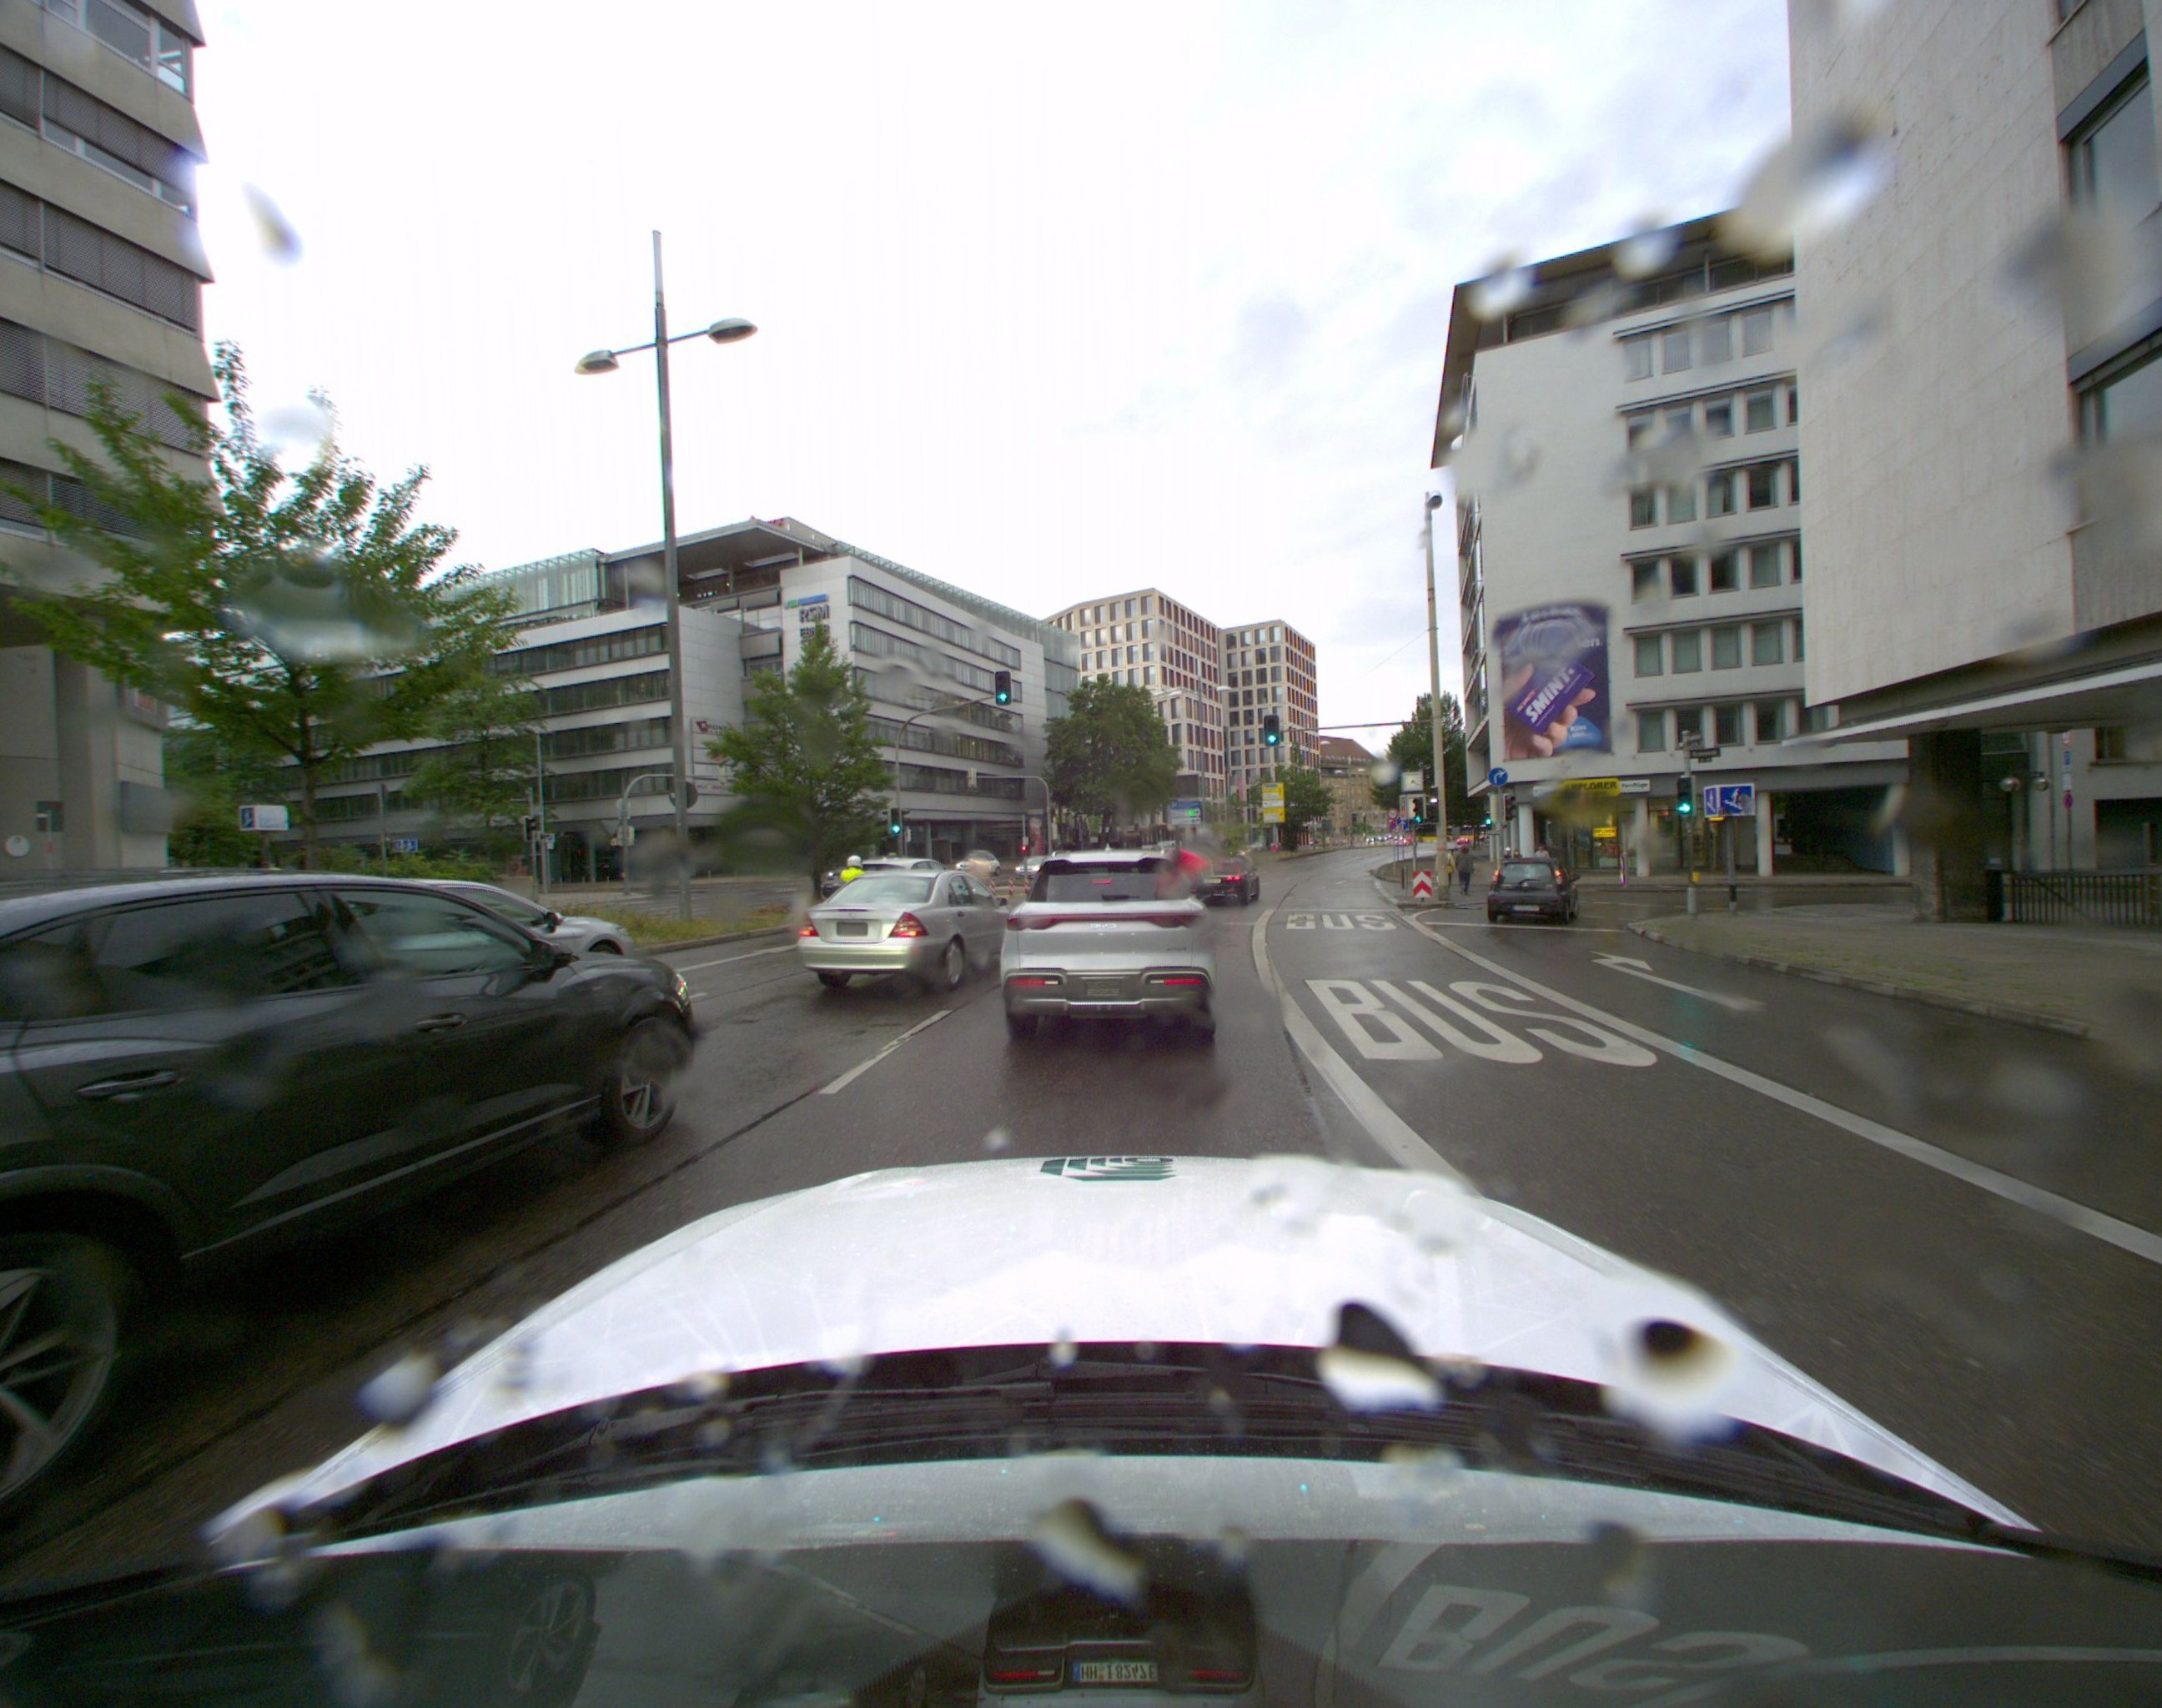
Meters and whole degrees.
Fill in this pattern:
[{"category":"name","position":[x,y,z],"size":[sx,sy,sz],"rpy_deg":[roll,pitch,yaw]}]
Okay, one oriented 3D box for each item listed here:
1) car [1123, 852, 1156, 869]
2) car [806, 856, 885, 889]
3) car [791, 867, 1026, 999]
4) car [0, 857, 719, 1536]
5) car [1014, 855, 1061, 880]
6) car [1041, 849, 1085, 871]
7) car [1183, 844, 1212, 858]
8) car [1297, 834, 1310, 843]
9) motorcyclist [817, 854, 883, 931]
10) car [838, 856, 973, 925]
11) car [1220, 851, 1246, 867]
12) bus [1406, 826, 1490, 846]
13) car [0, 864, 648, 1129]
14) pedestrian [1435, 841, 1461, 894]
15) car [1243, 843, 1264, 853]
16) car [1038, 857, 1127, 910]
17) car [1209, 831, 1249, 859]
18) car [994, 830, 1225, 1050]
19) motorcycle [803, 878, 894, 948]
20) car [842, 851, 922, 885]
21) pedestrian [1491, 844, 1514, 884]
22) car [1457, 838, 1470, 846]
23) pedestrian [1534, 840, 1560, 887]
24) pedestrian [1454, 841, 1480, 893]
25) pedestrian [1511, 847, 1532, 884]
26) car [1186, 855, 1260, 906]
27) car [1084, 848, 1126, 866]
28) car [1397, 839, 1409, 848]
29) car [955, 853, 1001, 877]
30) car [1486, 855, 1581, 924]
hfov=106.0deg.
[{"category":"car","position":[5.856,0.656,80.787],"size":[1.616,1.559,4.620],"rpy_deg":[-2,0,25]},{"category":"car","position":[-12.425,0.945,43.200],"size":[1.976,1.610,4.022],"rpy_deg":[0,1,22]},{"category":"car","position":[-2.043,0.889,10.915],"size":[1.560,1.407,4.122],"rpy_deg":[-1,-1,11]},{"category":"car","position":[-3.223,0.789,3.092],"size":[1.642,1.521,4.273],"rpy_deg":[-1,0,2]},{"category":"car","position":[-2.560,0.805,48.930],"size":[1.677,1.385,3.884],"rpy_deg":[-1,-1,16]},{"category":"car","position":[-1.285,0.425,59.621],"size":[1.629,1.581,4.108],"rpy_deg":[-1,0,23]},{"category":"car","position":[13.493,-0.361,93.910],"size":[1.974,1.488,4.025],"rpy_deg":[-2,0,29]},{"category":"car","position":[44.285,-3.085,162.105],"size":[1.590,1.741,3.466],"rpy_deg":[-1,-1,34]},{"category":"motorcyclist","position":[-4.316,0.705,15.289],"size":[0.765,1.380,1.122],"rpy_deg":[-1,-1,11]},{"category":"car","position":[-4.057,0.813,19.554],"size":[1.696,1.486,4.012],"rpy_deg":[-1,-1,11]},{"category":"car","position":[14.977,0.454,80.130],"size":[1.616,1.437,3.930],"rpy_deg":[-2,0,25]},{"category":"bus","position":[82.497,-3.983,183.196],"size":[16.803,4.063,4.464],"rpy_deg":[-1,-1,28]},{"category":"car","position":[-6.352,0.891,7.361],"size":[1.855,1.533,4.787],"rpy_deg":[-1,0,7]},{"category":"pedestrian","position":[12.747,0.468,28.288],"size":[0.742,1.798,0.821],"rpy_deg":[-2,0,22]},{"category":"car","position":[25.815,-0.893,121.788],"size":[1.974,1.488,4.025],"rpy_deg":[-2,0,29]},{"category":"car","position":[0.130,0.873,25.038],"size":[1.558,1.486,4.018],"rpy_deg":[-1,-1,18]},{"category":"car","position":[11.709,-0.660,64.209],"size":[1.975,2.014,4.876],"rpy_deg":[-1,-1,25]},{"category":"car","position":[0.430,0.691,8.290],"size":[1.767,1.679,4.007],"rpy_deg":[-1,-1,6]},{"category":"motorcycle","position":[-4.315,1.063,15.288],"size":[0.795,1.185,2.034],"rpy_deg":[-1,-1,10]},{"category":"car","position":[-9.433,0.646,39.002],"size":[1.630,1.536,4.173],"rpy_deg":[-1,0,20]},{"category":"pedestrian","position":[17.896,0.424,34.565],"size":[0.662,1.655,0.657],"rpy_deg":[-1,-1,45]},{"category":"car","position":[69.830,-2.191,148.614],"size":[1.677,1.486,4.025],"rpy_deg":[-1,-1,32]},{"category":"pedestrian","position":[18.071,0.370,31.598],"size":[0.662,1.794,0.778],"rpy_deg":[-1,-1,45]},{"category":"pedestrian","position":[13.733,0.452,28.991],"size":[0.742,1.798,0.821],"rpy_deg":[-2,0,22]},{"category":"pedestrian","position":[18.484,0.482,34.168],"size":[0.618,1.543,0.657],"rpy_deg":[-1,-1,45]},{"category":"car","position":[4.622,0.813,26.138],"size":[1.679,1.486,4.019],"rpy_deg":[-1,-1,19]},{"category":"car","position":[2.209,0.251,74.166],"size":[1.797,1.510,5.227],"rpy_deg":[-2,0,26]},{"category":"car","position":[59.583,-1.955,150.719],"size":[1.871,1.643,4.023],"rpy_deg":[-1,0,24]},{"category":"car","position":[-6.997,0.751,55.720],"size":[1.624,1.571,3.737],"rpy_deg":[-1,-1,20]},{"category":"car","position":[10.675,0.760,19.090],"size":[1.555,1.429,4.025],"rpy_deg":[-1,-1,34]}]
